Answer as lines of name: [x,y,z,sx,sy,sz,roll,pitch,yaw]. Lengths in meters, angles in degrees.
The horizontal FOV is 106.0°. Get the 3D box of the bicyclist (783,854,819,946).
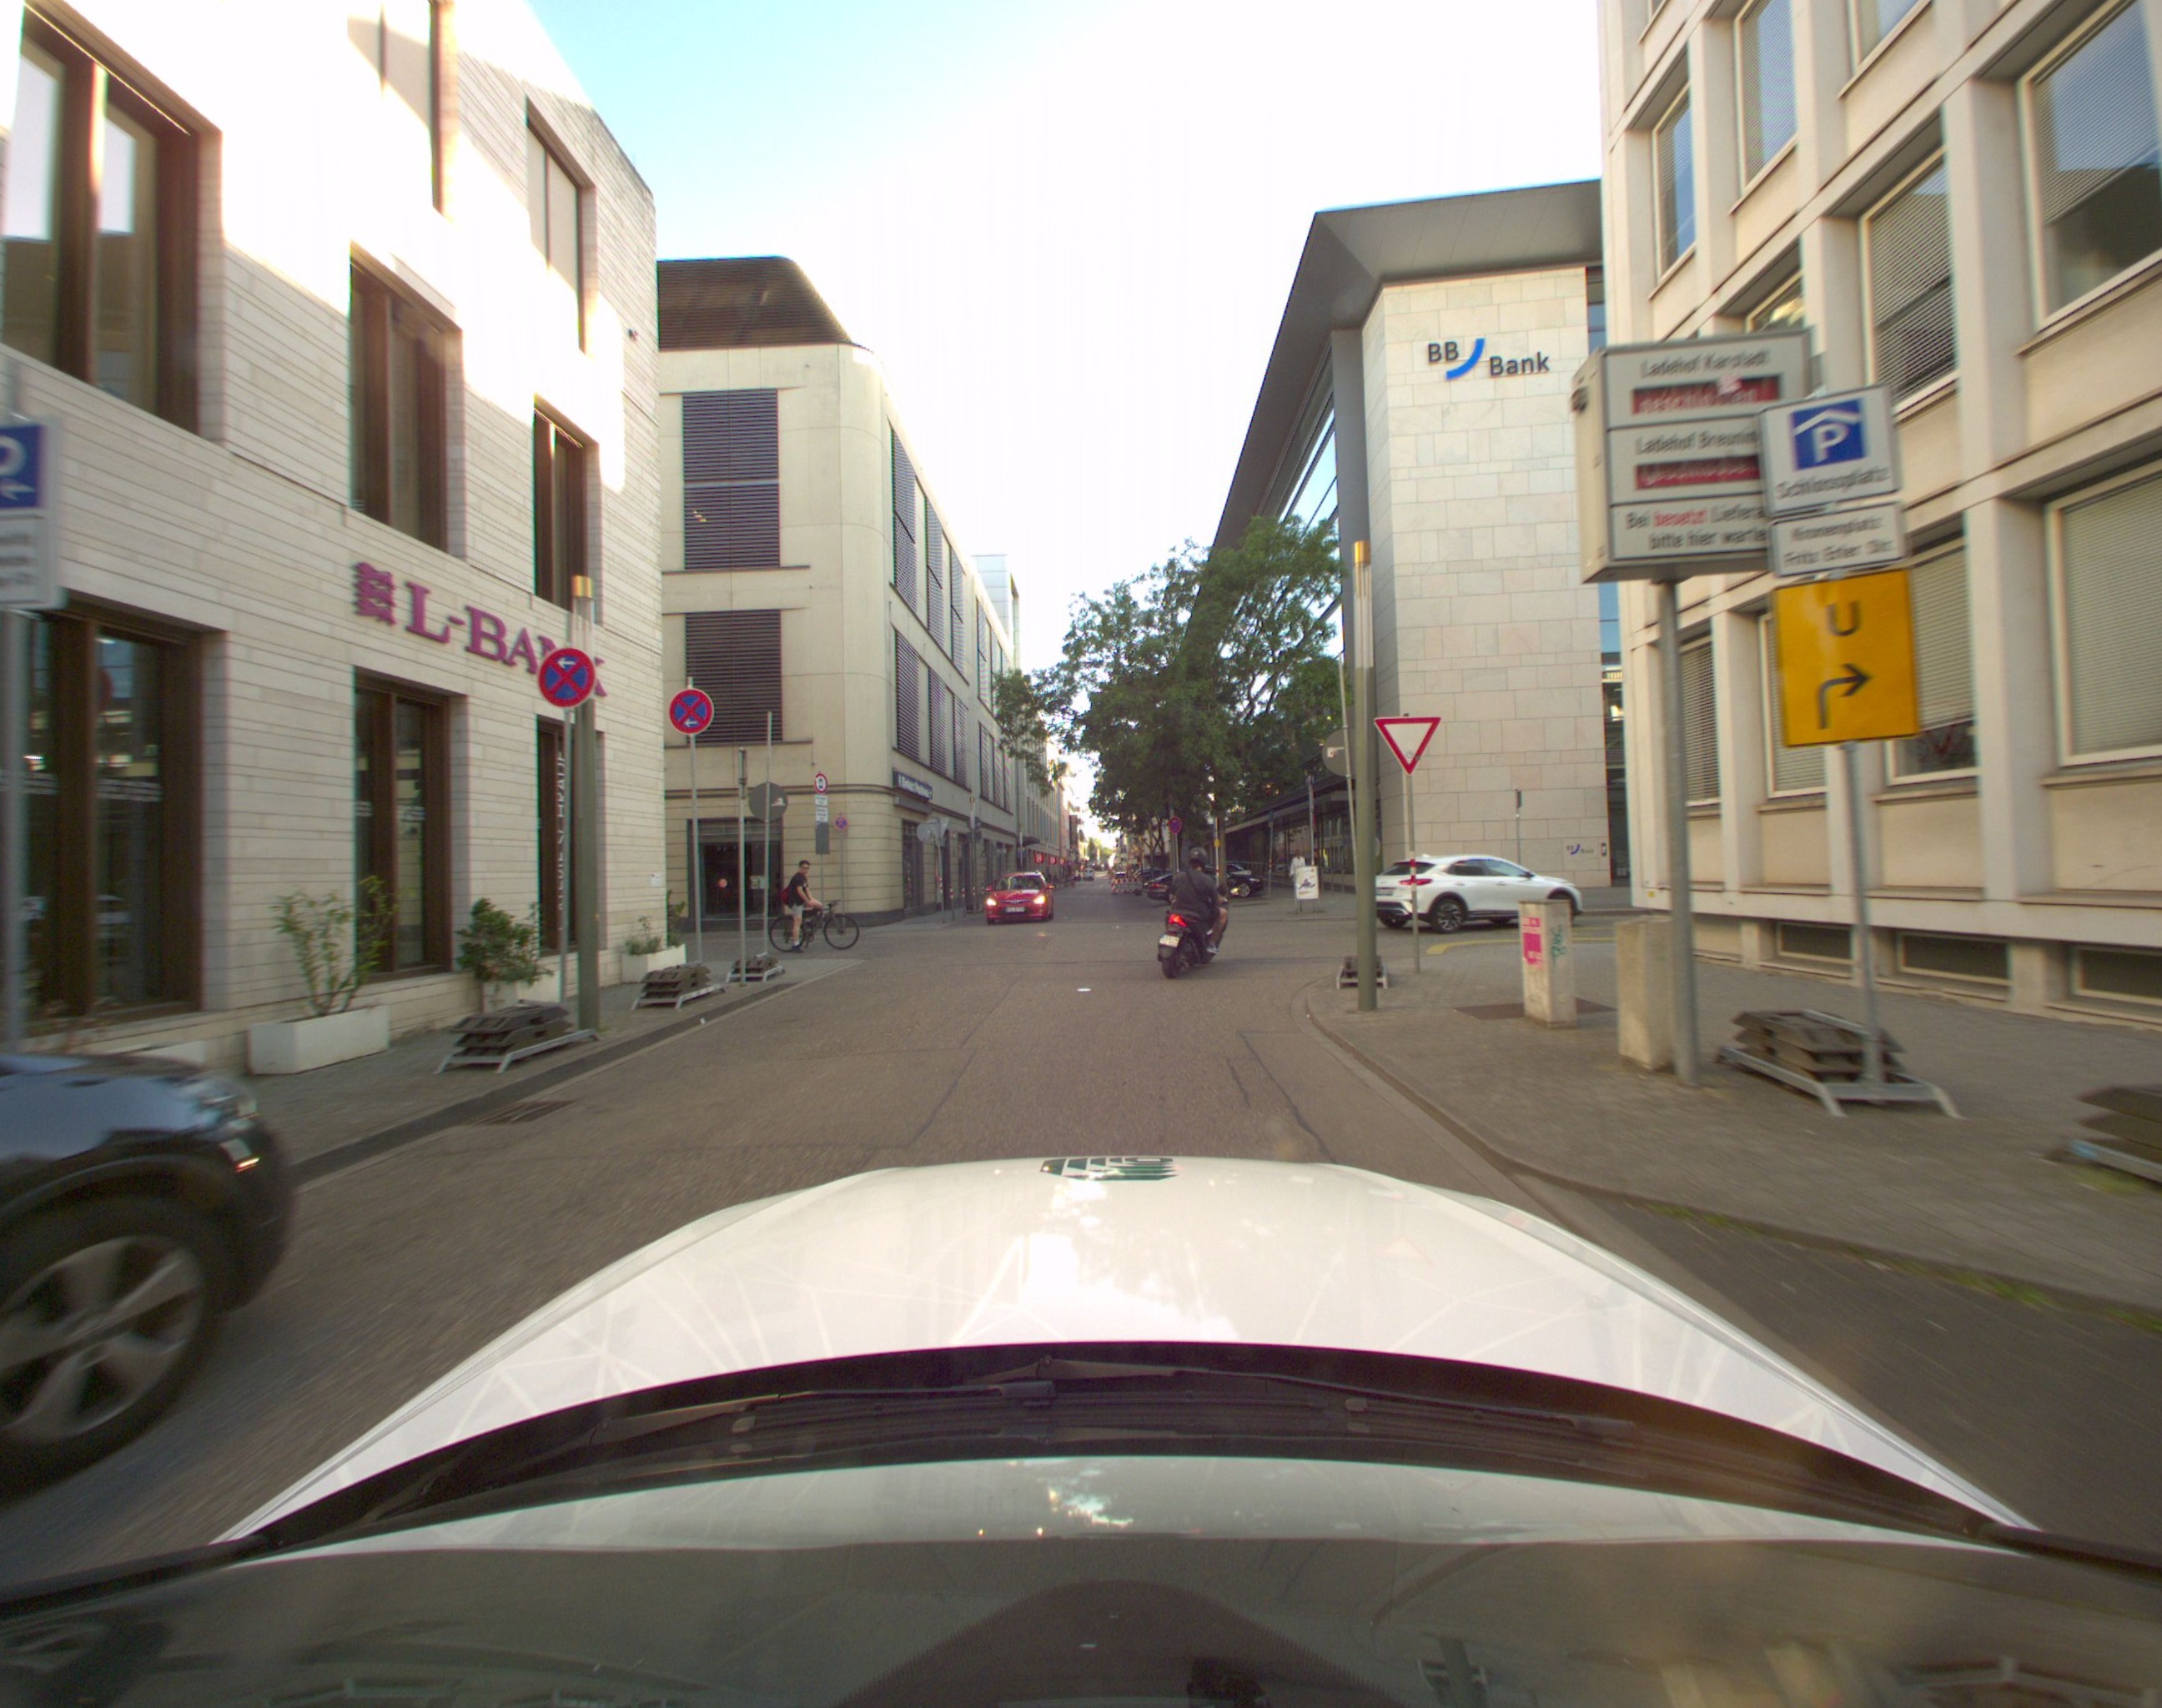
bicyclist: [-5.380,0.879,15.657,0.549,1.732,0.500,-1,-2,-6]

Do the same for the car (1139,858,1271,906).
car: [5.010,1.151,33.438,4.989,1.452,1.999,-6,-2,-1]

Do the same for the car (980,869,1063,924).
car: [-1.692,1.270,24.535,1.814,1.465,4.268,-2,-3,4]

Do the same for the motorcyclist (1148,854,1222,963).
motorcyclist: [1.417,0.730,11.096,0.858,1.427,0.458,-2,-2,32]

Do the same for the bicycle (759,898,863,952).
bicycle: [-5.177,1.354,15.662,1.812,0.974,0.510,-1,-2,-7]

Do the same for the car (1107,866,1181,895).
car: [4.408,1.885,57.681,4.989,1.499,1.999,-6,-2,-1]

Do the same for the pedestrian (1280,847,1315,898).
pedestrian: [7.698,0.652,28.985,0.901,1.706,0.835,-5,-2,3]

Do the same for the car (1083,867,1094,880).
car: [1.349,3.526,146.032,1.987,2.329,5.019,0,-1,0]

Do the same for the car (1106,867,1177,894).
car: [4.439,1.947,60.213,4.989,1.499,1.999,-6,-2,-1]

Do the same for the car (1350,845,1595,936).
car: [7.808,0.682,16.344,4.258,1.541,1.819,-2,-1,-16]

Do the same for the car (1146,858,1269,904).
car: [5.485,1.186,35.831,4.989,1.499,1.999,-6,-2,-1]

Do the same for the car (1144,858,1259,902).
car: [5.598,1.210,38.186,4.989,1.499,1.999,-6,-2,-1]

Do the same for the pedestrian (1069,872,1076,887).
pedestrian: [-0.917,2.776,87.893,0.729,1.574,0.636,-1,-2,2]

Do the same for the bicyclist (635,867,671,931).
bicyclist: [-11.061,1.165,21.050,0.626,1.626,0.499,-1,-2,7]

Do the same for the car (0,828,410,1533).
car: [-3.590,0.830,0.952,1.814,1.678,4.267,-4,-1,4]

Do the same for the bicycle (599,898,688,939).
bicycle: [-11.305,1.671,21.061,2.090,0.995,0.519,-1,-2,7]

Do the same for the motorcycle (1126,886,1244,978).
motorcycle: [1.460,1.010,11.132,0.864,1.109,1.851,-2,-2,32]
